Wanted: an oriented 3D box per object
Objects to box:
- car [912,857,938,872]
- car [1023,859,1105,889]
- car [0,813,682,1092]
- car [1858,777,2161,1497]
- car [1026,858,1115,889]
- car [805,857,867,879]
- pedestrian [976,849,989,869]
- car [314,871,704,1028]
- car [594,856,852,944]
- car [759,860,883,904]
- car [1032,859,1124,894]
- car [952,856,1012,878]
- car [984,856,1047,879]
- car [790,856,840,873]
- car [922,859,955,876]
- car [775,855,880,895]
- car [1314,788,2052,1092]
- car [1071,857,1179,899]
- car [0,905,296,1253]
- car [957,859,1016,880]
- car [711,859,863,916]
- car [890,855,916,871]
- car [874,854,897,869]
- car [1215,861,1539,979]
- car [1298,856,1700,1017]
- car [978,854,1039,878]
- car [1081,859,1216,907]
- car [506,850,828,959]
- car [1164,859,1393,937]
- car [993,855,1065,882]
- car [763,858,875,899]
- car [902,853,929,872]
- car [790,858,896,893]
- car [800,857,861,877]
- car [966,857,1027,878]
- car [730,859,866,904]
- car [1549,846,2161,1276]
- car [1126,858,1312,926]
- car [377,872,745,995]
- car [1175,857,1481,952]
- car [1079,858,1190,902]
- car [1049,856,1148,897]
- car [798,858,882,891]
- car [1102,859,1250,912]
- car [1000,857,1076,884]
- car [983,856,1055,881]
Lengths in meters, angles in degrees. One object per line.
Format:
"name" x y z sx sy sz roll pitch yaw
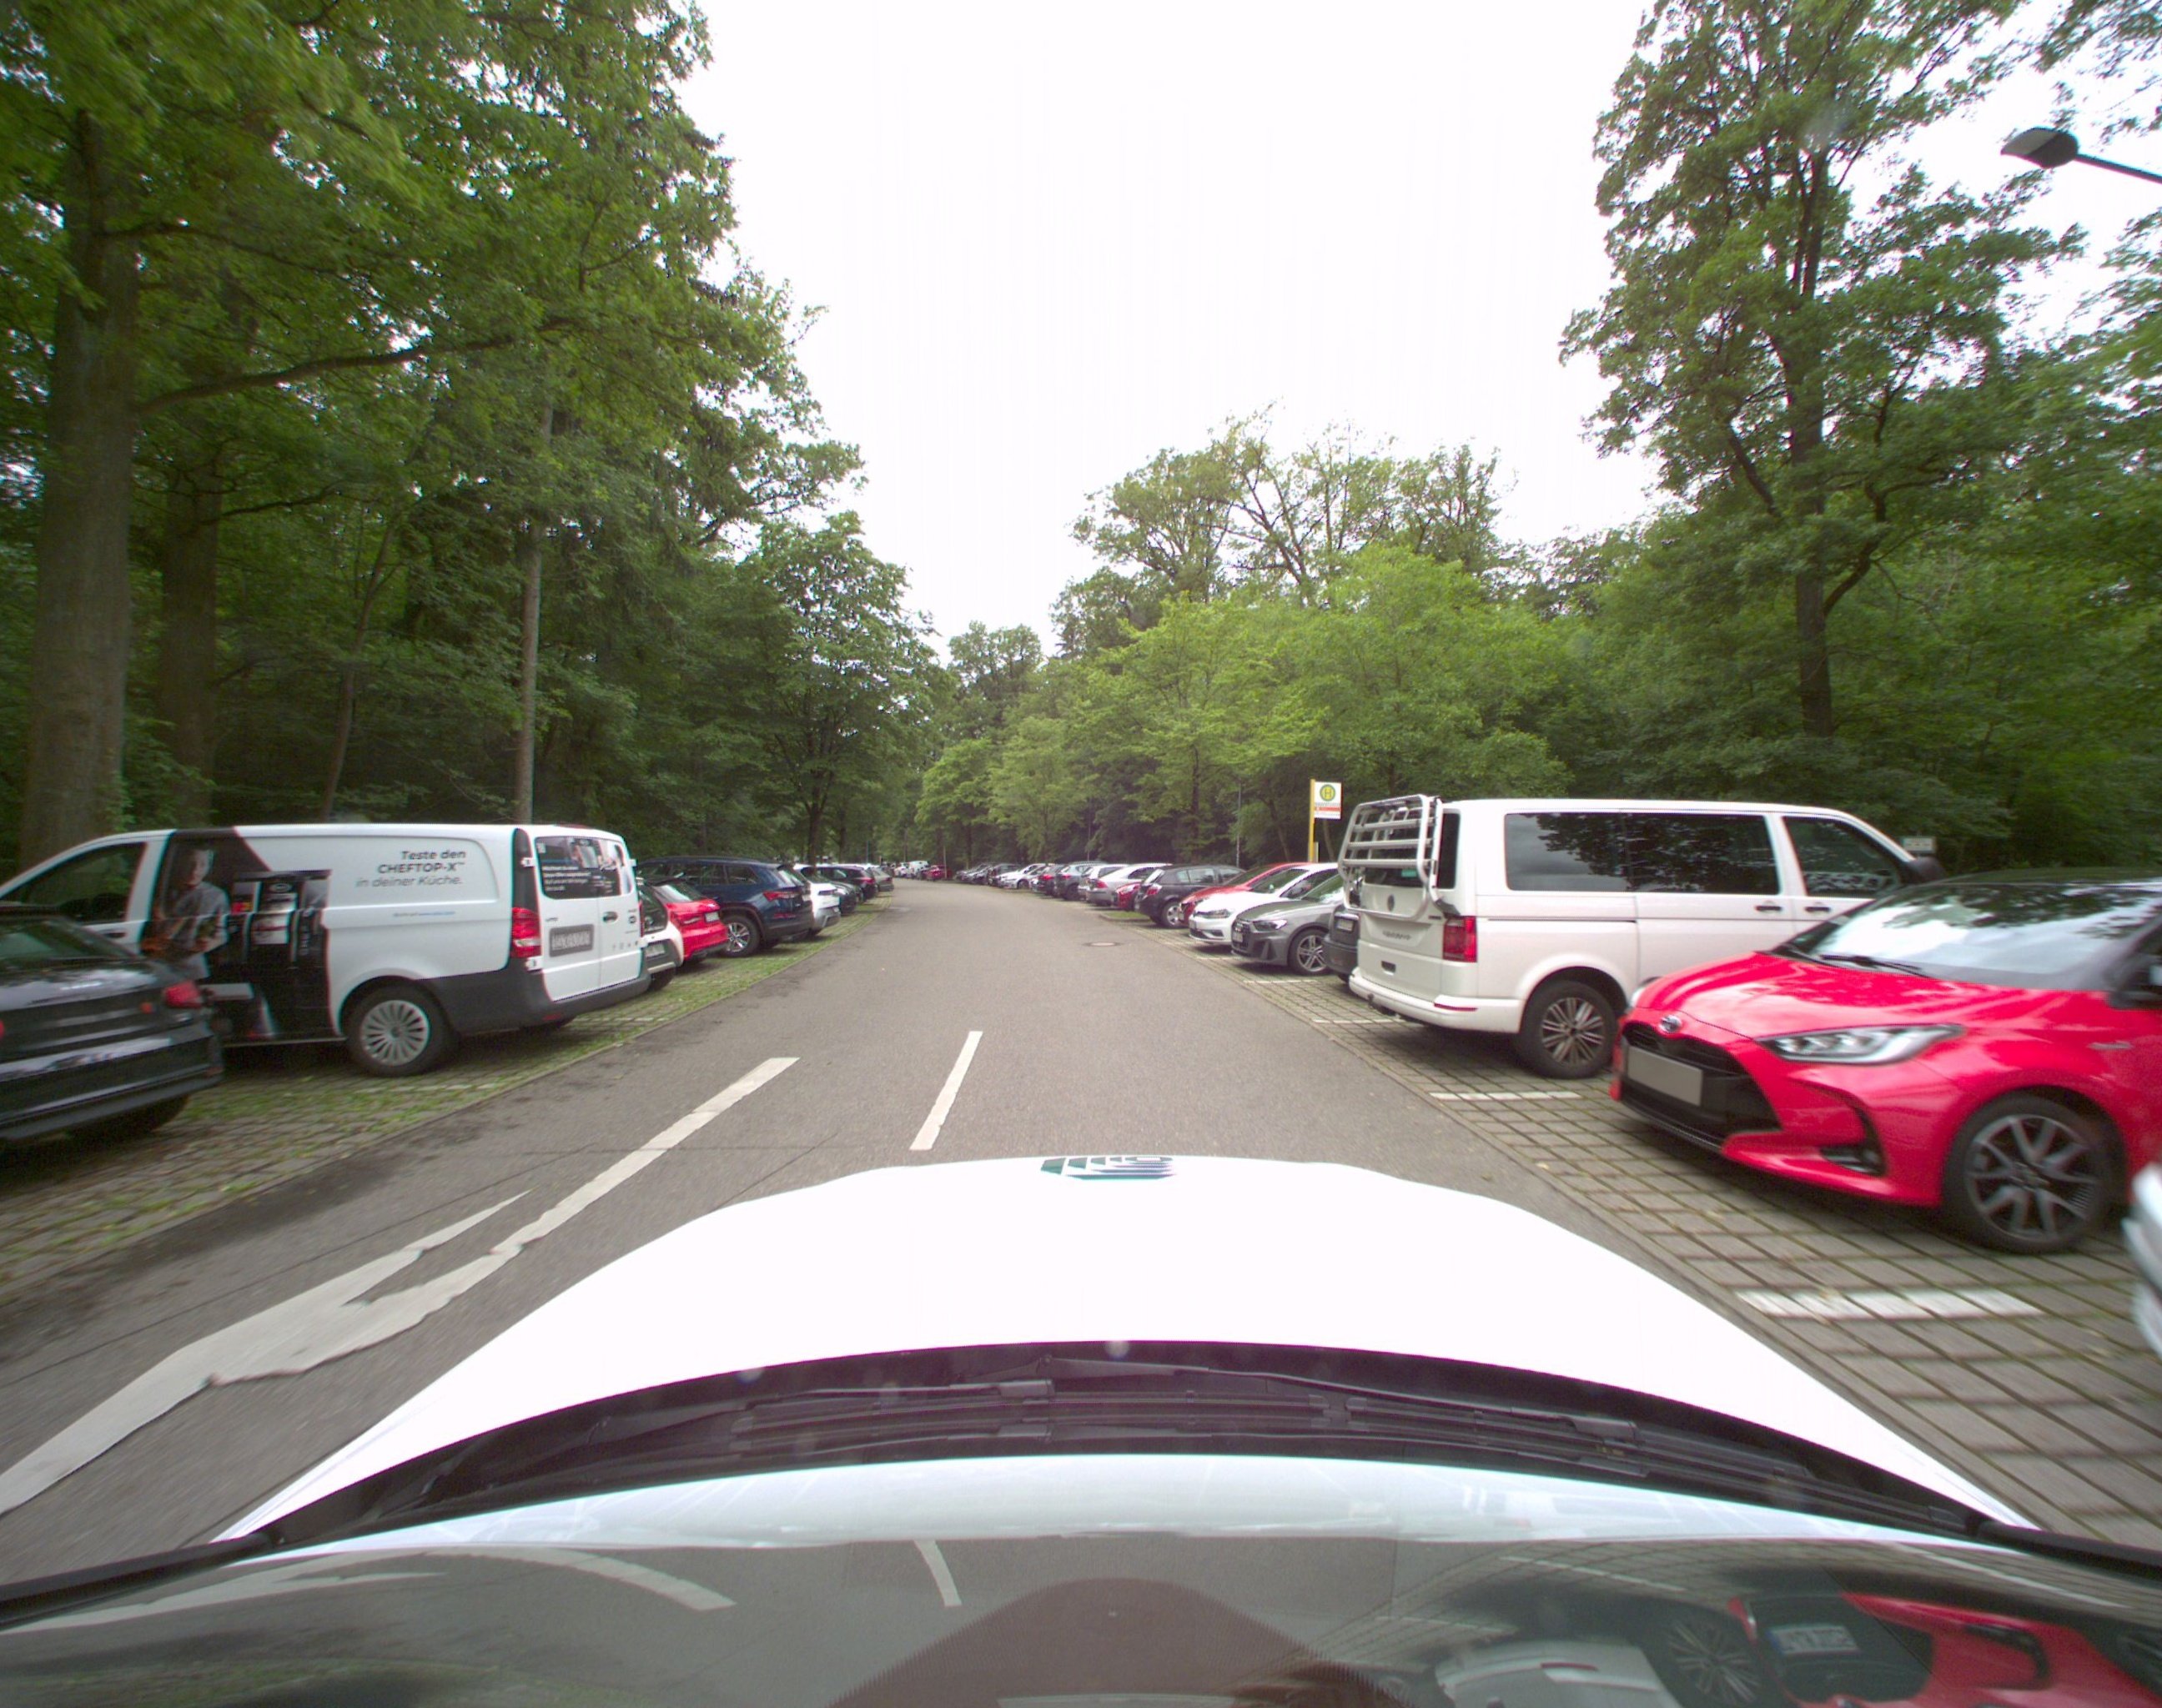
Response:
"car" -14.853 0.965 77.486 1.732 1.422 4.253 0 0 -22
"car" -0.878 1.011 41.849 3.811 1.441 1.856 0 0 -24
"car" -6.360 0.688 6.742 5.074 1.915 1.976 -1 0 -3
"car" 4.779 0.662 1.558 4.503 1.693 2.166 0 0 1
"car" -0.528 0.897 39.058 3.939 1.411 1.869 0 0 -15
"car" -17.799 0.987 59.182 4.277 1.486 2.045 0 0 -18
"pedestrian" -8.501 0.418 70.192 0.821 1.726 0.996 1 -1 -22
"car" -6.359 1.014 9.359 3.216 1.466 1.654 -2 1 -2
"car" -7.062 0.860 16.511 4.351 1.598 2.026 -1 0 -7
"car" -9.732 1.015 30.841 4.235 1.530 1.999 0 0 -11
"car" -0.155 0.994 36.459 3.777 1.481 1.764 0 0 -17
"car" -7.654 0.961 63.042 4.280 1.666 1.945 0 0 -20
"car" -4.361 0.874 53.775 3.837 1.457 1.798 -1 0 -18
"car" -26.122 1.007 79.853 4.535 1.584 1.912 0 0 -23
"car" -12.678 1.179 72.329 2.001 1.479 4.936 0 0 -22
"car" -11.088 0.881 35.832 4.243 1.647 1.959 -1 0 -17
"car" 4.586 0.612 6.740 4.639 2.021 2.081 2 1 -4
"car" 1.683 0.908 31.480 3.847 1.546 1.722 0 0 -14
"car" -6.607 0.998 3.847 3.978 1.379 1.720 0 0 -4
"car" -7.029 1.127 60.638 4.006 1.551 1.959 0 0 -25
"car" -8.560 0.939 24.027 3.990 1.491 1.700 -1 0 -12
"car" -19.256 0.935 88.053 1.794 1.662 4.679 0 0 -25
"car" -23.677 0.934 98.667 1.898 1.747 4.909 0 0 -24
"car" 4.121 0.900 11.725 3.981 1.483 1.873 2 -1 -6
"car" 4.668 0.890 9.458 3.717 1.554 1.843 2 2 -6
"car" -4.972 0.810 55.919 3.839 1.531 1.839 -1 0 -19
"car" 2.174 0.923 26.902 4.126 1.461 1.859 0 -1 -10
"car" -6.858 0.790 14.004 4.418 1.694 2.167 0 0 -6
"car" 3.978 0.842 16.792 4.225 1.480 1.914 0 0 -8
"car" -3.130 0.844 48.755 4.015 1.559 1.967 0 0 -15
"car" -10.636 0.973 33.379 4.241 1.533 1.753 -1 0 -15
"car" -16.786 0.835 82.407 1.752 1.780 4.516 0 0 -24
"car" -11.078 0.976 38.199 4.647 1.478 2.084 -1 0 -15
"car" -19.636 1.033 63.908 4.386 1.486 1.876 -1 -1 -24
"car" -6.063 0.932 58.405 3.998 1.475 1.940 0 0 -19
"car" -9.670 0.910 28.166 4.236 1.473 1.713 0 -1 -12
"car" 4.834 0.792 3.963 3.981 1.555 1.948 1 1 2
"car" 3.191 0.850 19.268 3.984 1.483 1.917 0 0 -8
"car" -7.158 1.050 11.631 3.984 1.445 1.818 -1 0 -8
"car" 4.142 0.813 14.099 4.763 1.476 1.850 0 1 -5
"car" 1.889 0.912 29.265 3.704 1.511 1.744 0 -1 -12
"car" 0.679 0.891 33.710 3.771 1.589 1.941 0 0 -13
"car" -12.699 1.057 43.171 3.958 1.628 1.993 -1 0 -8
"car" 2.782 0.896 24.309 3.989 1.450 1.933 0 0 -12
"car" -2.472 0.908 46.316 3.989 1.483 1.872 0 0 -19
"car" -3.878 0.894 51.159 4.200 1.512 1.881 0 0 -20
